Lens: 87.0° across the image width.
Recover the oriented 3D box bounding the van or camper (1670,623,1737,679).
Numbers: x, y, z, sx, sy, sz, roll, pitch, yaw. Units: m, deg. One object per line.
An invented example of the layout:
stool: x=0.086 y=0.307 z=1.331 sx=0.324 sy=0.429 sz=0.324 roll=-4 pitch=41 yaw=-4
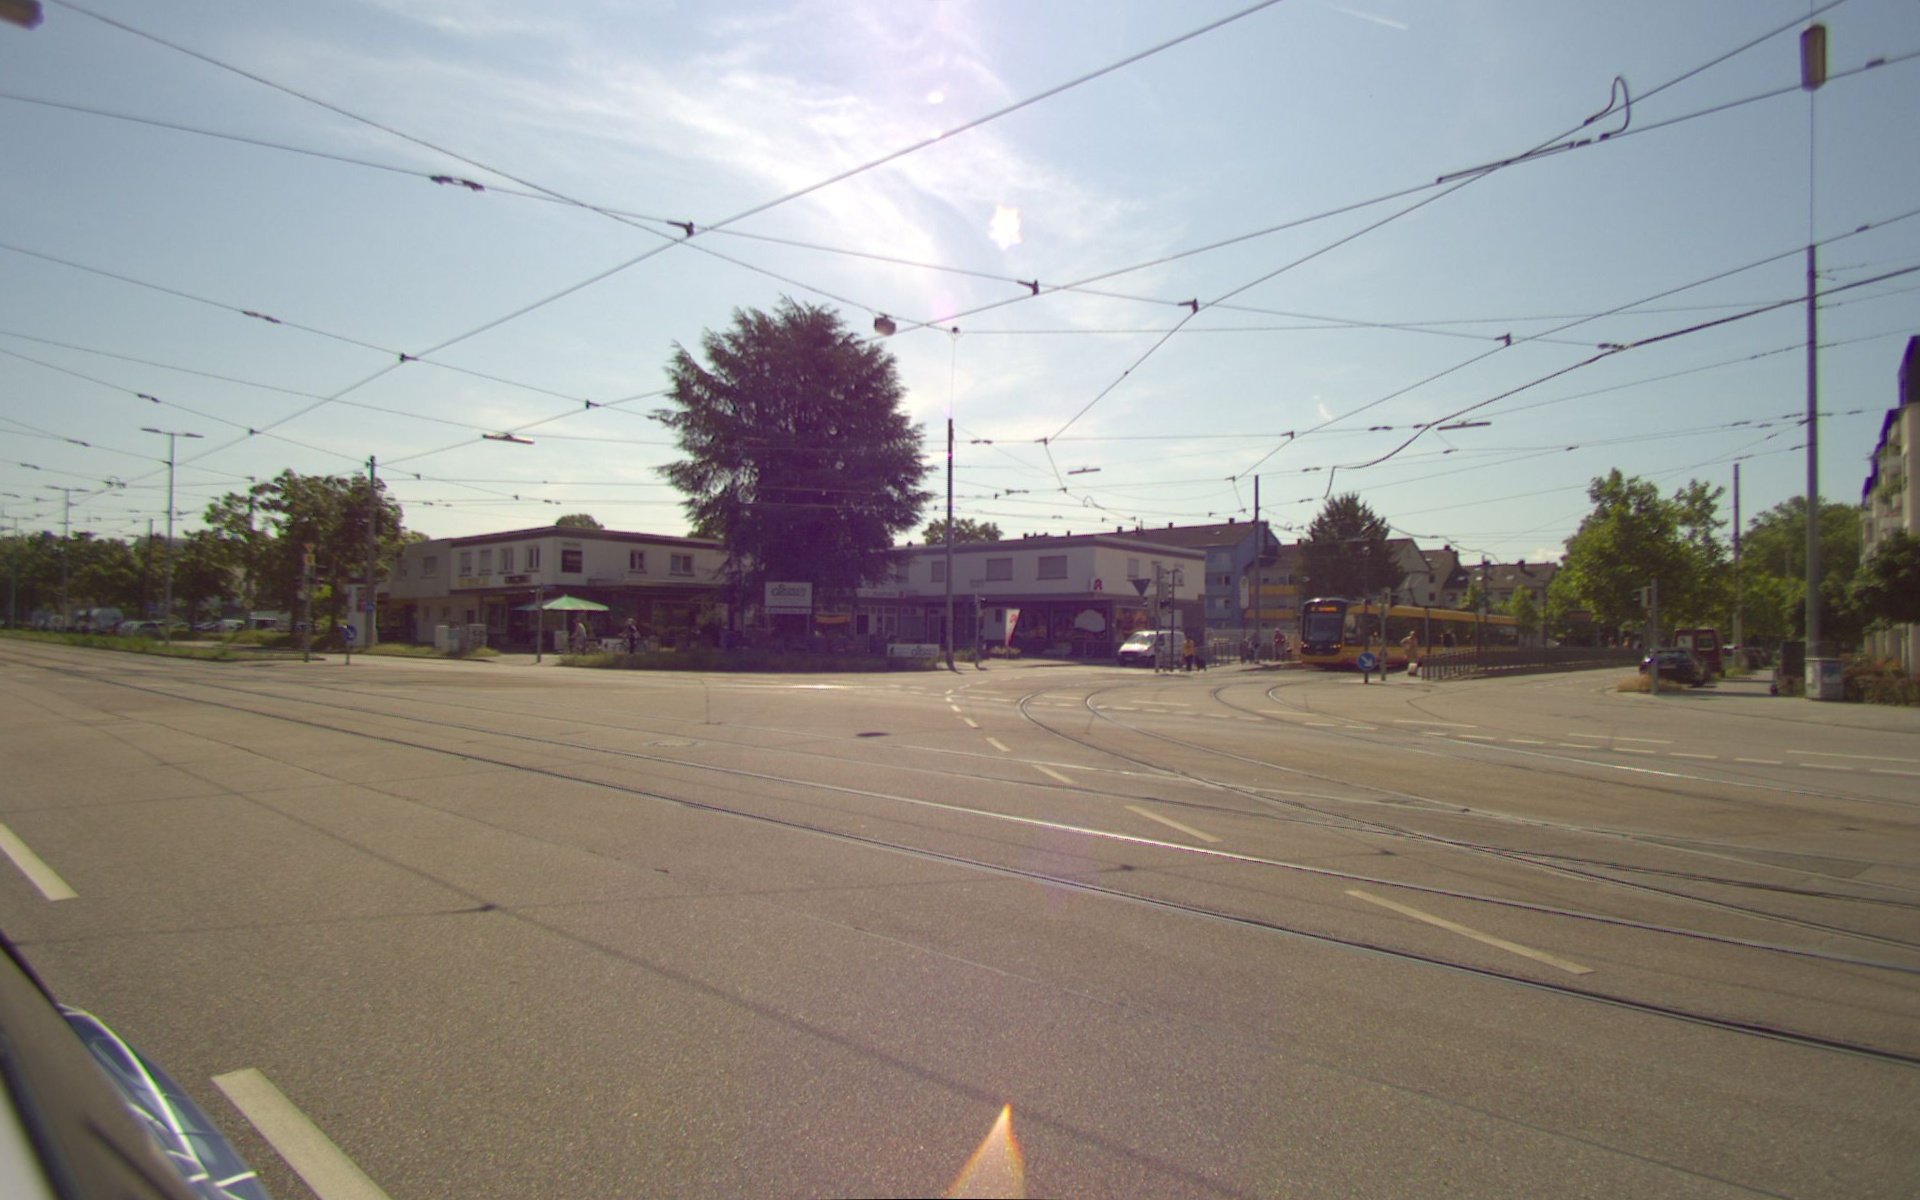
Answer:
van or camper: x=37.281 y=2.524 z=50.701 sx=2.374 sy=2.644 sz=4.825 roll=-1 pitch=-3 yaw=40

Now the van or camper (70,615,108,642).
van or camper: x=-86.160 y=2.838 z=100.093 sx=4.837 sy=2.652 sz=2.013 roll=-1 pitch=-3 yaw=41

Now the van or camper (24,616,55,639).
van or camper: x=-112.892 y=3.354 z=124.153 sx=5.450 sy=2.639 sz=2.086 roll=-1 pitch=-4 yaw=41

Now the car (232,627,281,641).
car: x=-67.697 y=3.275 z=97.396 sx=1.710 sy=1.294 sz=3.579 roll=-1 pitch=-3 yaw=39

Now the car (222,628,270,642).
car: x=-71.589 y=3.503 z=101.514 sx=1.811 sy=1.291 sz=3.579 roll=-1 pitch=-3 yaw=39

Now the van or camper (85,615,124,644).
van or camper: x=-80.787 y=2.770 z=95.526 sx=4.837 sy=2.652 sz=2.013 roll=-1 pitch=-3 yaw=41

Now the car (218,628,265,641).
car: x=-73.643 y=3.559 z=103.742 sx=1.710 sy=1.291 sz=3.579 roll=-1 pitch=-3 yaw=39

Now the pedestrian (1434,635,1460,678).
pedestrian: x=20.624 y=2.384 z=42.828 sx=0.799 sy=1.773 sz=0.764 roll=3 pitch=-4 yaw=-44

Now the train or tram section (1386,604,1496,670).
train or tram section: x=30.095 y=2.385 z=62.809 sx=2.767 sy=3.686 sz=13.720 roll=-1 pitch=-3 yaw=40

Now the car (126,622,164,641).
car: x=-68.522 y=2.613 z=85.058 sx=4.284 sy=1.506 sz=1.868 roll=-1 pitch=0 yaw=42

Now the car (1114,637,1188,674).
car: x=10.066 y=2.912 z=53.203 sx=1.776 sy=1.876 sz=4.596 roll=-1 pitch=-3 yaw=41

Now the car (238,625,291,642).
car: x=-65.887 y=3.171 z=95.940 sx=1.949 sy=1.581 sz=3.702 roll=-1 pitch=-3 yaw=39

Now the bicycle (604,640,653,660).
bicycle: x=-15.043 y=2.257 z=45.917 sx=2.115 sy=0.897 sz=0.573 roll=0 pitch=-3 yaw=13

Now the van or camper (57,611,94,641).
van or camper: x=-92.077 y=2.747 z=105.318 sx=5.278 sy=3.008 sz=2.101 roll=-1 pitch=-3 yaw=41

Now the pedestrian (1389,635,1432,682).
pedestrian: x=17.872 y=2.308 z=40.139 sx=1.123 sy=1.850 sz=1.418 roll=-2 pitch=-4 yaw=44

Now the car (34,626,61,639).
car: x=-107.849 y=3.844 z=119.620 sx=4.229 sy=1.572 sz=1.868 roll=-1 pitch=-3 yaw=41

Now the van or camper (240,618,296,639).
van or camper: x=-96.371 y=3.989 z=141.070 sx=2.299 sy=2.751 sz=6.000 roll=-2 pitch=-3 yaw=43

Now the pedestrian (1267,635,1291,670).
pedestrian: x=15.839 y=2.596 z=50.268 sx=0.813 sy=1.693 sz=1.079 roll=-1 pitch=-3 yaw=41

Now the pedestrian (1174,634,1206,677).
pedestrian: x=10.004 y=2.395 z=44.019 sx=0.896 sy=1.851 sz=1.185 roll=-1 pitch=-3 yaw=41

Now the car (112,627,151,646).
car: x=-72.529 y=3.203 z=88.607 sx=4.282 sy=1.572 sz=1.868 roll=-1 pitch=-3 yaw=41

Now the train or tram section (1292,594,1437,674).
train or tram section: x=21.220 y=1.845 z=52.378 sx=2.767 sy=3.686 sz=13.720 roll=-1 pitch=-3 yaw=40

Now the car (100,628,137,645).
car: x=-76.592 y=3.325 z=92.081 sx=4.229 sy=1.506 sz=1.868 roll=-1 pitch=-3 yaw=41

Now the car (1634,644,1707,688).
car: x=26.080 y=2.381 z=37.105 sx=1.827 sy=1.512 sz=4.130 roll=-1 pitch=-3 yaw=40

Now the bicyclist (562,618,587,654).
bicyclist: x=-17.435 y=1.629 z=45.762 sx=0.759 sy=1.570 sz=0.628 roll=1 pitch=-3 yaw=16

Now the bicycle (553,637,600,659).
bicycle: x=-17.319 y=2.182 z=45.725 sx=2.118 sy=0.954 sz=0.532 roll=0 pitch=-3 yaw=18

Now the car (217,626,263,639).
car: x=-75.013 y=3.386 z=105.421 sx=1.710 sy=1.291 sz=3.579 roll=-1 pitch=-3 yaw=39

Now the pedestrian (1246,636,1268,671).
pedestrian: x=14.095 y=2.522 z=48.048 sx=0.784 sy=1.639 sz=0.651 roll=-1 pitch=-3 yaw=41

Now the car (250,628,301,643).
car: x=-63.909 y=3.339 z=94.451 sx=1.710 sy=1.372 sz=3.579 roll=-1 pitch=-3 yaw=39

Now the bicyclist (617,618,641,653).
bicyclist: x=-15.035 y=1.616 z=45.963 sx=0.758 sy=1.587 sz=0.629 roll=0 pitch=-3 yaw=13
